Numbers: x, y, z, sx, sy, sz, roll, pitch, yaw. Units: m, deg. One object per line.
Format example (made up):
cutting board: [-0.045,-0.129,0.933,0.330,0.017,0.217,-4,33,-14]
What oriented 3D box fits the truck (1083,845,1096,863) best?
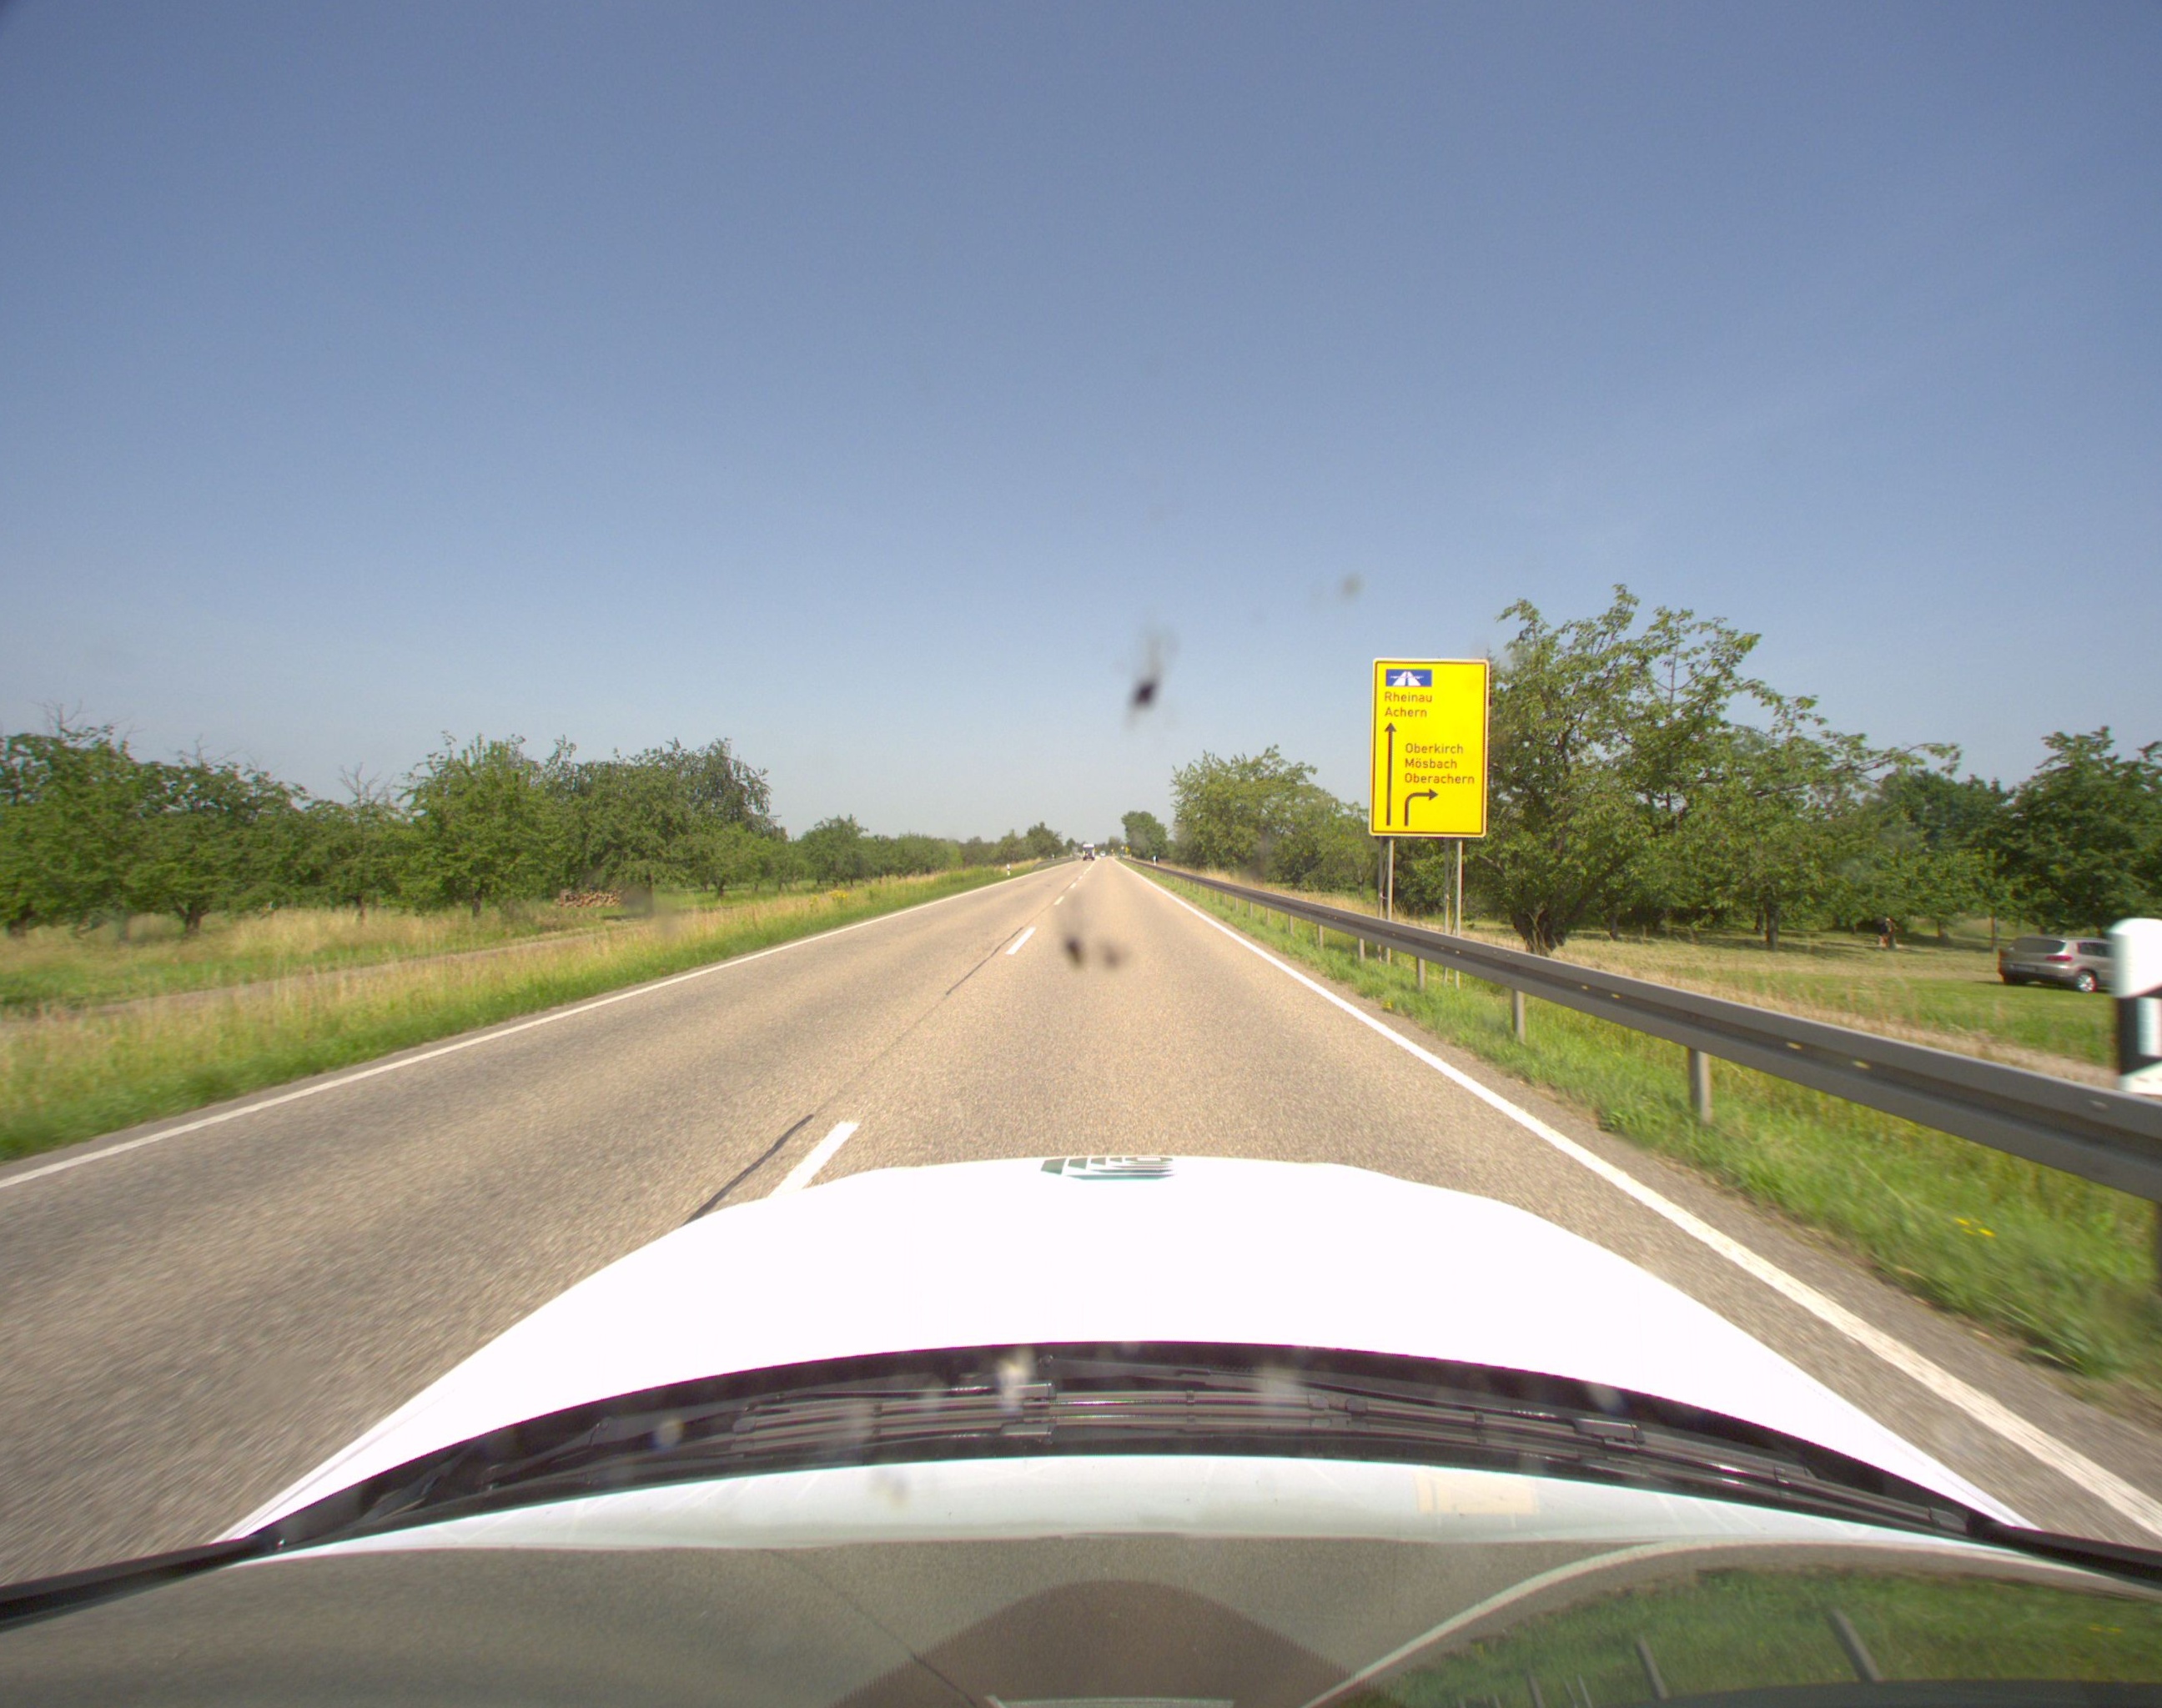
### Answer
truck: [1.965,0.012,177.752,2.718,3.672,9.385,0,-1,1]

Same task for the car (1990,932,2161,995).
car: [30.459,3.307,24.723,4.075,1.534,1.852,4,-1,-8]
